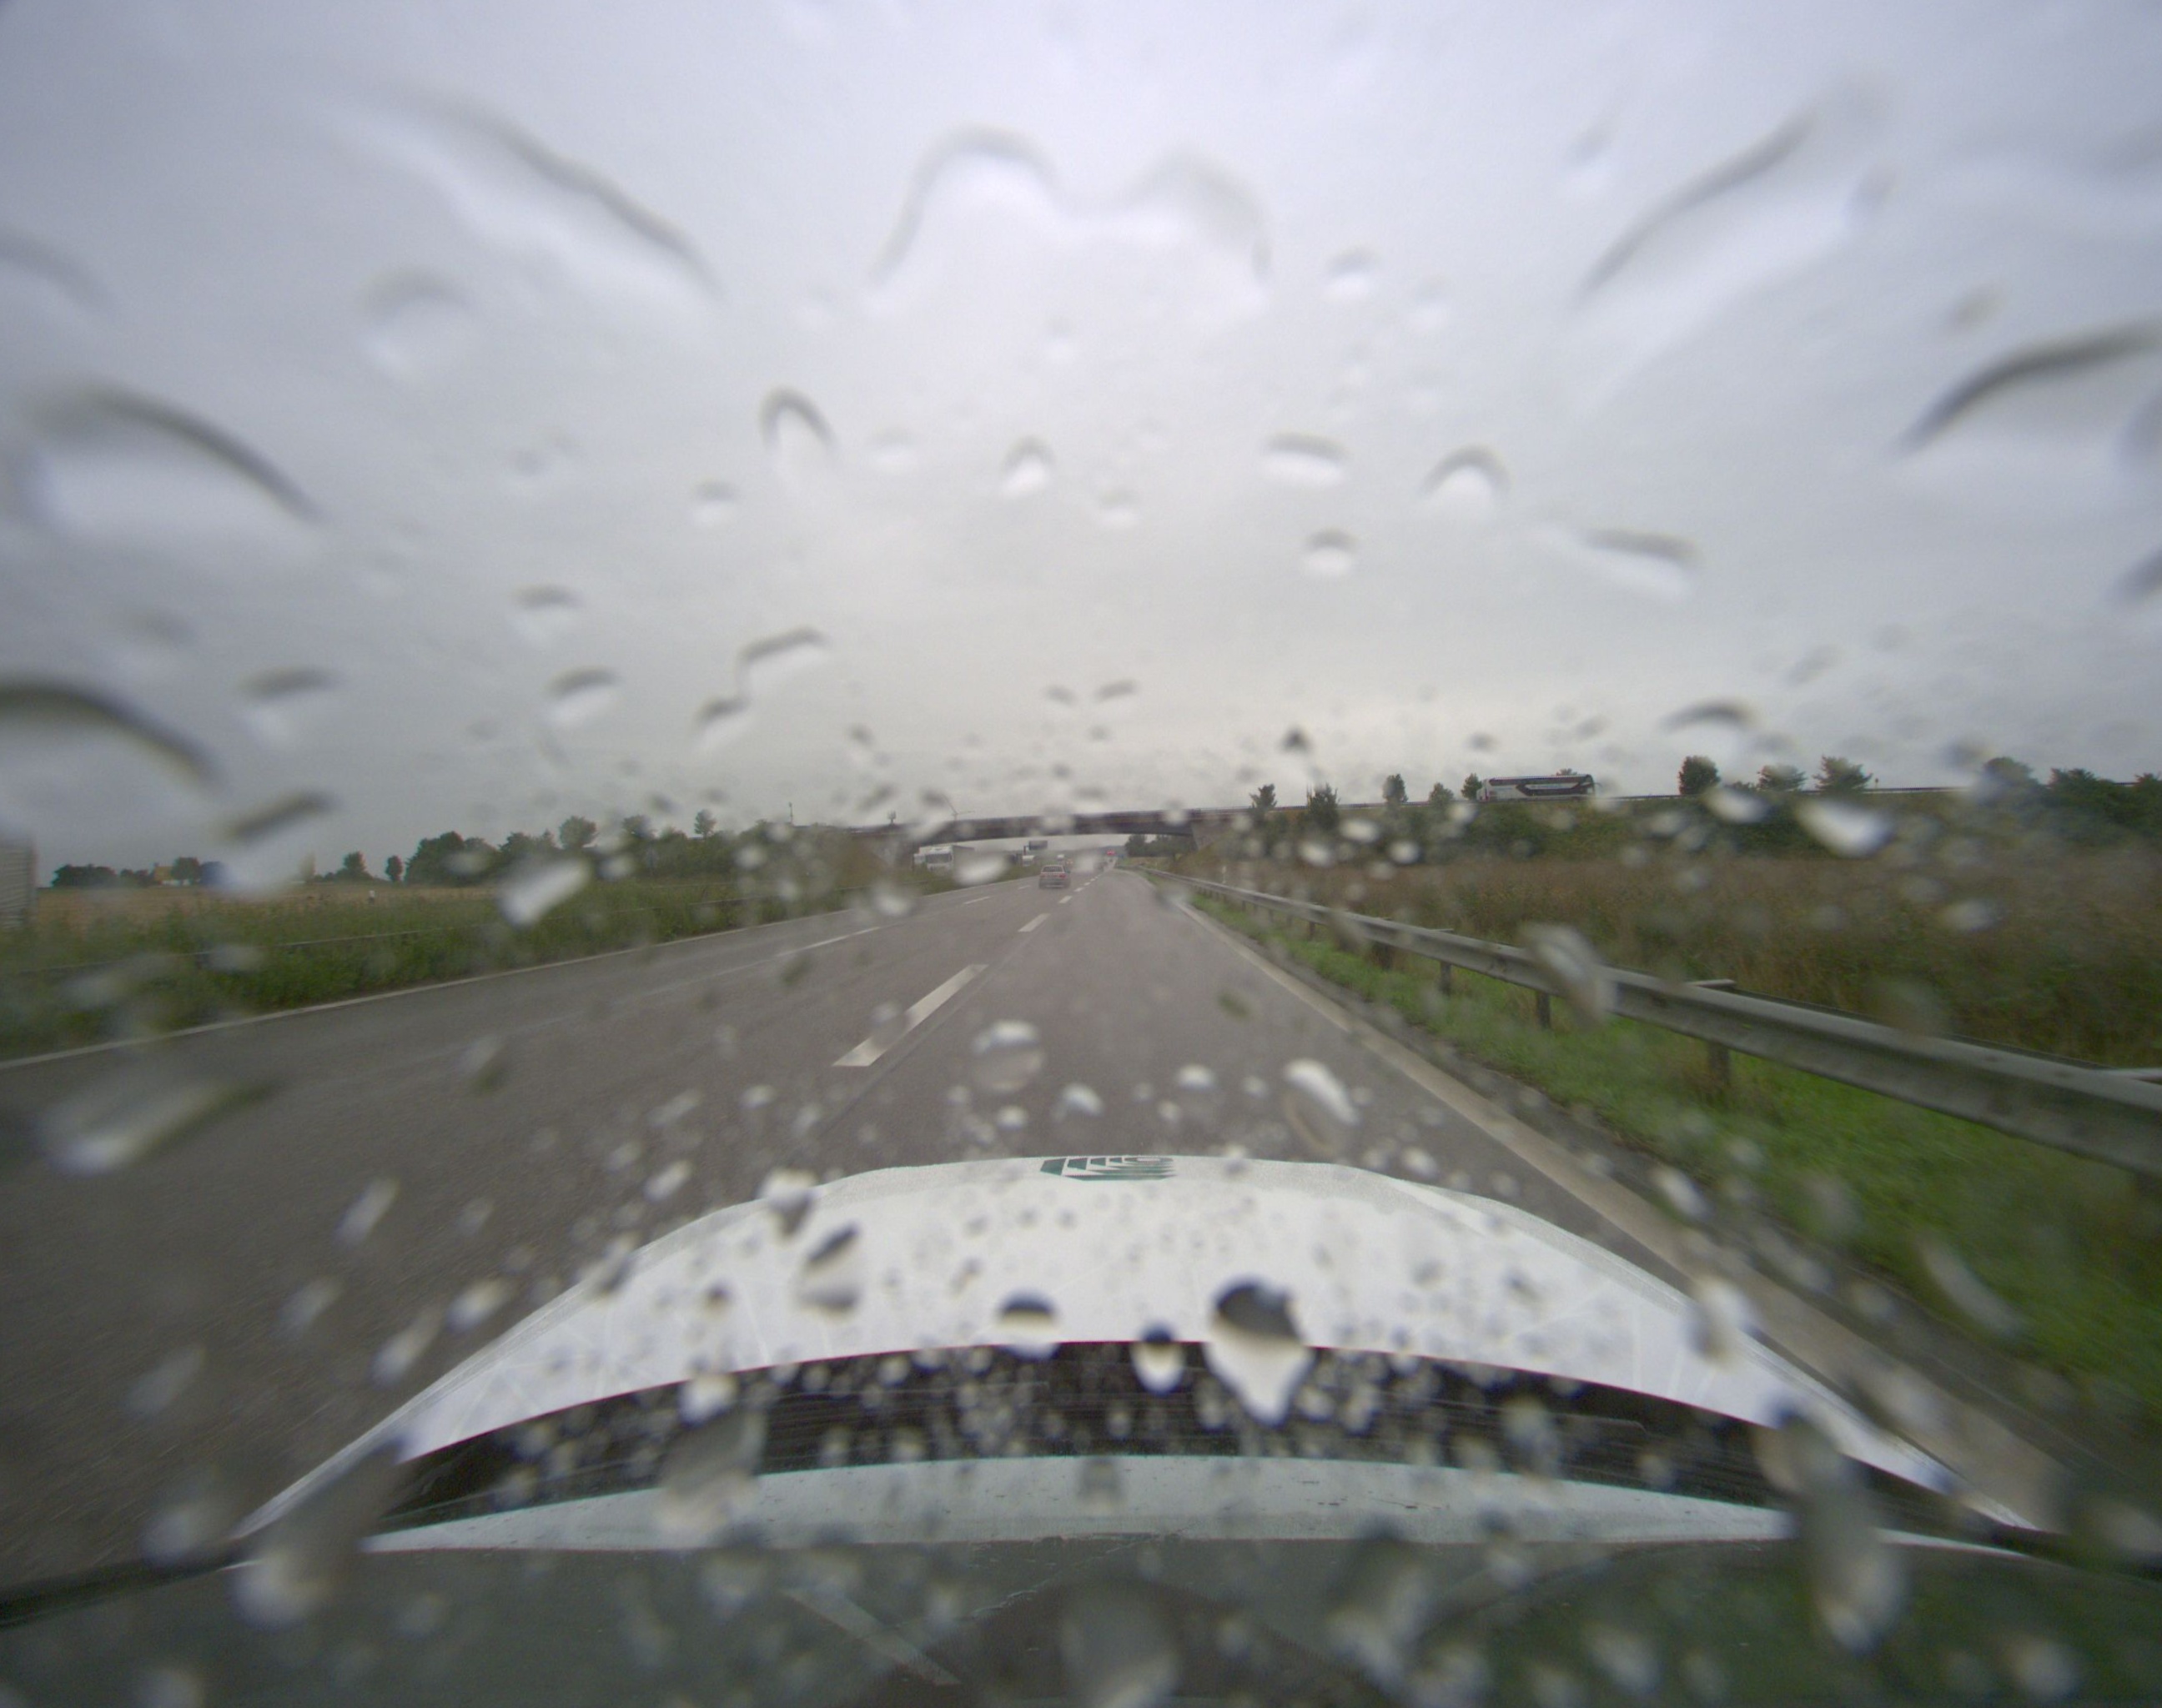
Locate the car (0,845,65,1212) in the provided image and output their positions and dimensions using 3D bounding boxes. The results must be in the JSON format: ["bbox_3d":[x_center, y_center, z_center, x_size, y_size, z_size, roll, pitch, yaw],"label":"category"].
[{"bbox_3d":[-5.784,0.771,1.308,1.856,1.634,5.102,-1,-1,1],"label":"car"}]

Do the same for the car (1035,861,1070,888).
[{"bbox_3d":[-1.698,1.238,50.470,1.867,1.488,4.796,-2,-1,1],"label":"car"}]

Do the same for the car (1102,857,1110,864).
[{"bbox_3d":[6.519,1.754,215.090,1.986,1.697,4.002,-4,1,2],"label":"car"}]

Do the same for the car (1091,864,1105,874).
[{"bbox_3d":[2.867,2.559,135.978,2.137,1.636,4.596,-1,-1,2],"label":"car"}]

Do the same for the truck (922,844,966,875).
[{"bbox_3d":[-15.885,0.670,95.451,2.982,3.376,11.050,-2,-1,1],"label":"truck"}]

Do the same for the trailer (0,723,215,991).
[{"bbox_3d":[-19.346,0.080,11.244,3.217,4.385,10.517,-2,-1,2],"label":"trailer"}]

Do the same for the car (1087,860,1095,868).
[{"bbox_3d":[2.524,2.621,208.494,1.986,1.749,4.002,-4,1,1],"label":"car"}]
